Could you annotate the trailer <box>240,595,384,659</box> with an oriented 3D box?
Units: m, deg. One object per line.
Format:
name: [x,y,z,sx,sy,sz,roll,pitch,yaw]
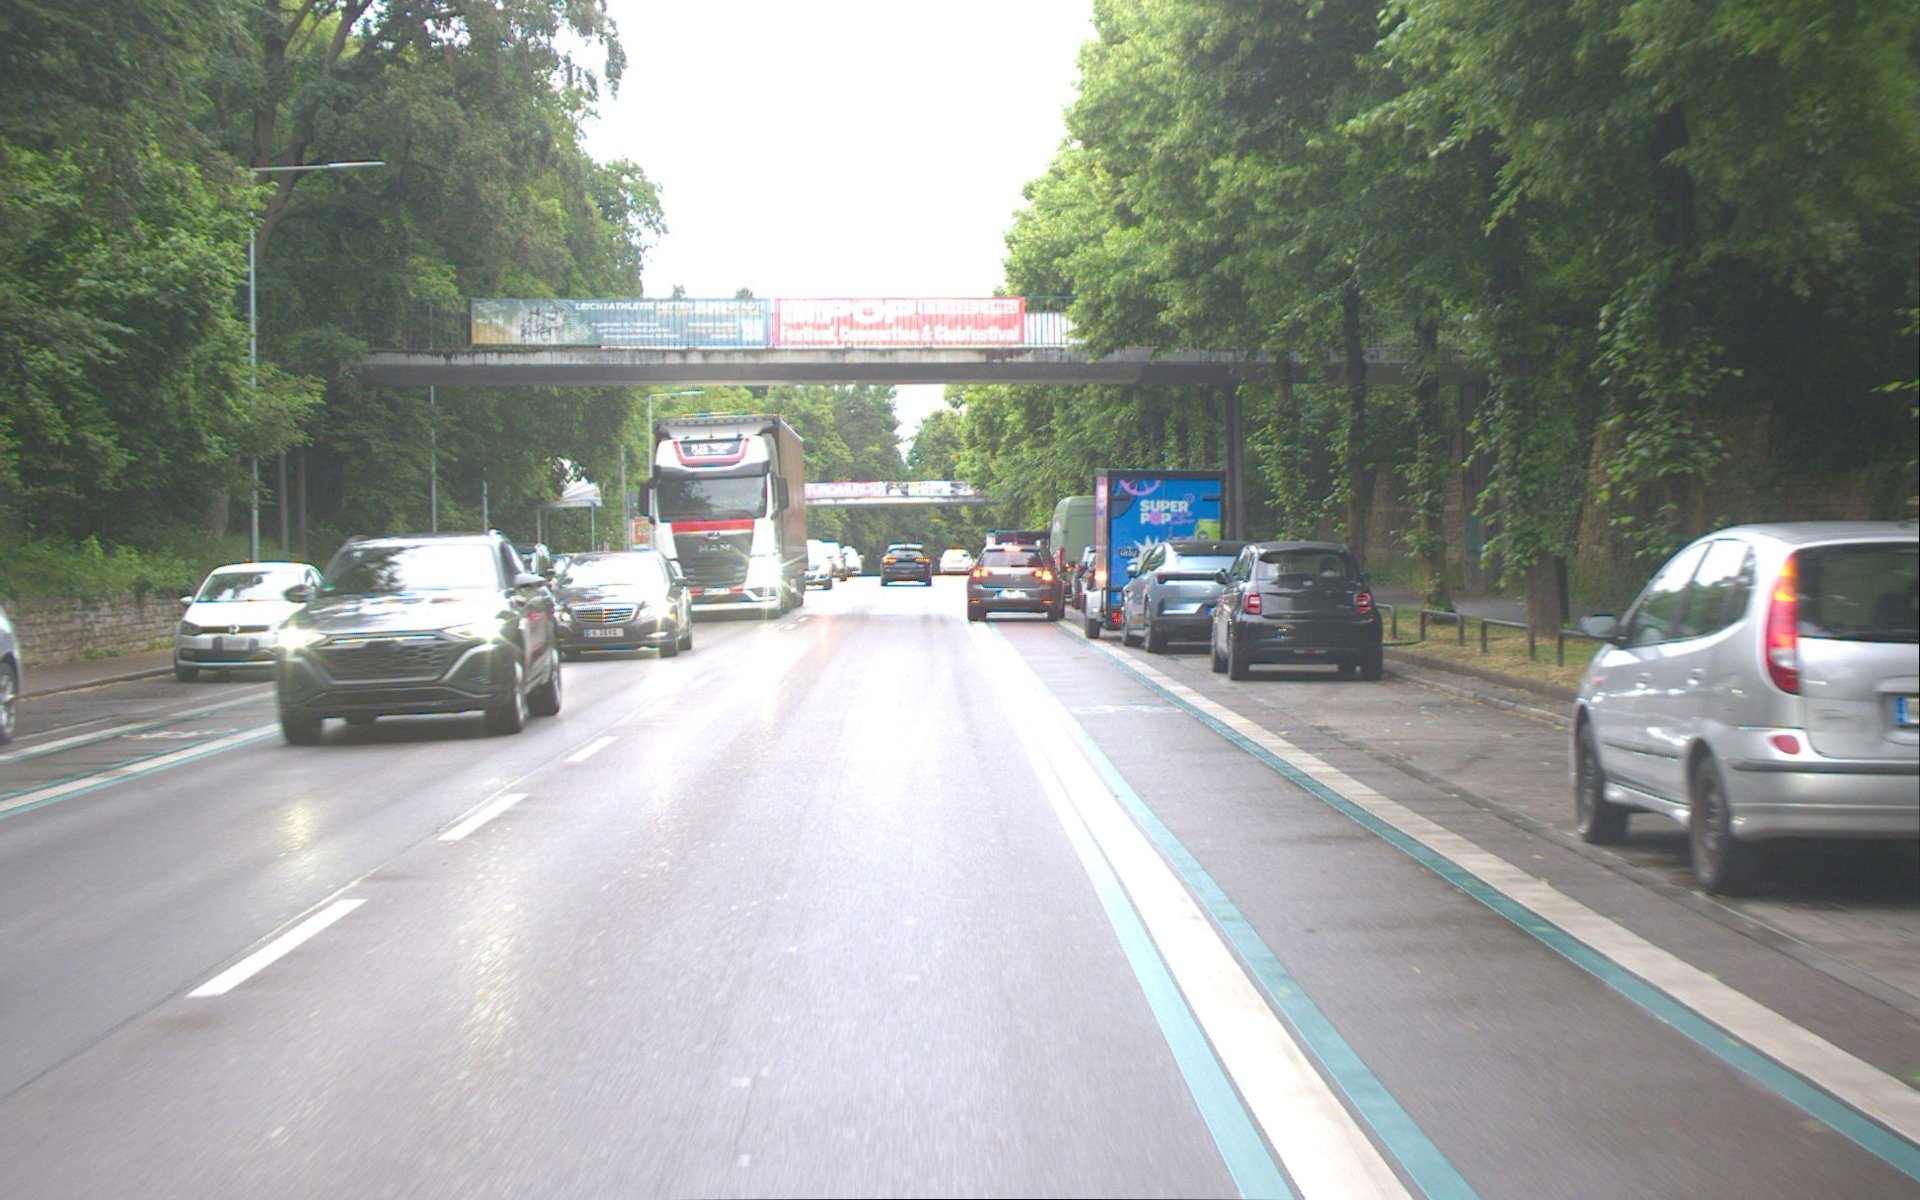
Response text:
trailer: [-9.251,0.370,49.300,1.542,0.816,3.305,-1,1,-2]

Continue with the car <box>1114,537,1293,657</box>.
car: [3.347,-0.081,48.128,1.899,1.542,4.756,1,1,-3]

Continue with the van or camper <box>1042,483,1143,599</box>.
van or camper: [3.218,-1.467,84.892,2.042,2.720,6.901,1,1,-1]

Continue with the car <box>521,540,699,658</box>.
car: [-4.794,-0.053,47.694,1.915,1.451,4.621,-3,1,0]

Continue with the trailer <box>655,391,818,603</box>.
trailer: [-4.892,-2.253,77.590,2.687,4.244,12.770,-3,1,0]

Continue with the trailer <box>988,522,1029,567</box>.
trailer: [2.370,-2.705,167.757,1.884,2.158,3.808,-1,1,0]

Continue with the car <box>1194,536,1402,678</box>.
car: [3.782,0.037,39.180,1.825,1.498,4.571,-1,1,-1]

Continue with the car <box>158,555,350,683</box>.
car: [-9.101,0.210,44.575,1.789,1.477,3.983,-1,2,-2]

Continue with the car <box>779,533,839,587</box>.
car: [-5.023,-1.342,114.660,1.834,1.660,4.181,-3,1,-1]

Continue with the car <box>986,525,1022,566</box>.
car: [2.340,-2.912,184.578,1.889,2.120,4.045,-1,1,1]

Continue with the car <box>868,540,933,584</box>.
car: [-2.096,-1.355,120.454,2.140,1.487,4.499,0,1,-3]

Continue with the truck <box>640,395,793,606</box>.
truck: [-4.906,-1.998,70.042,2.518,4.032,4.916,-3,1,1]

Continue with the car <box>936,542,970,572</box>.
car: [-0.410,-2.307,185.153,1.731,1.578,4.037,-1,1,-1]

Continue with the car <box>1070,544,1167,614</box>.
car: [3.290,-0.460,71.937,1.686,1.411,4.197,0,1,-2]

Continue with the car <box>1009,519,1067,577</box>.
car: [2.799,-1.893,124.587,1.926,2.015,4.664,1,1,0]

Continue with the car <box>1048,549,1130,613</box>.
car: [2.902,-0.443,77.940,1.686,1.411,4.100,0,1,0]

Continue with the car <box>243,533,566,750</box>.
car: [-4.501,0.275,28.504,1.961,1.611,4.466,-2,1,-1]

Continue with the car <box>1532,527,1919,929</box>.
car: [3.976,0.461,15.993,1.753,1.591,4.740,0,1,-1]

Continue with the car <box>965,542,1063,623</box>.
car: [1.025,-0.355,66.243,1.818,1.503,4.139,0,1,0]

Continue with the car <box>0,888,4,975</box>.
car: [-4.363,0.712,10.481,1.775,1.461,4.063,-3,1,-1]

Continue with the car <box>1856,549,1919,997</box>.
car: [4.101,0.624,10.193,1.698,1.508,4.469,1,1,0]

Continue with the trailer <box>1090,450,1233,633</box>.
trailer: [3.122,-0.925,54.065,1.952,2.749,4.007,0,1,-1]

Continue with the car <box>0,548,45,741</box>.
car: [-9.027,0.422,27.908,2.010,1.600,4.780,-1,2,-1]
